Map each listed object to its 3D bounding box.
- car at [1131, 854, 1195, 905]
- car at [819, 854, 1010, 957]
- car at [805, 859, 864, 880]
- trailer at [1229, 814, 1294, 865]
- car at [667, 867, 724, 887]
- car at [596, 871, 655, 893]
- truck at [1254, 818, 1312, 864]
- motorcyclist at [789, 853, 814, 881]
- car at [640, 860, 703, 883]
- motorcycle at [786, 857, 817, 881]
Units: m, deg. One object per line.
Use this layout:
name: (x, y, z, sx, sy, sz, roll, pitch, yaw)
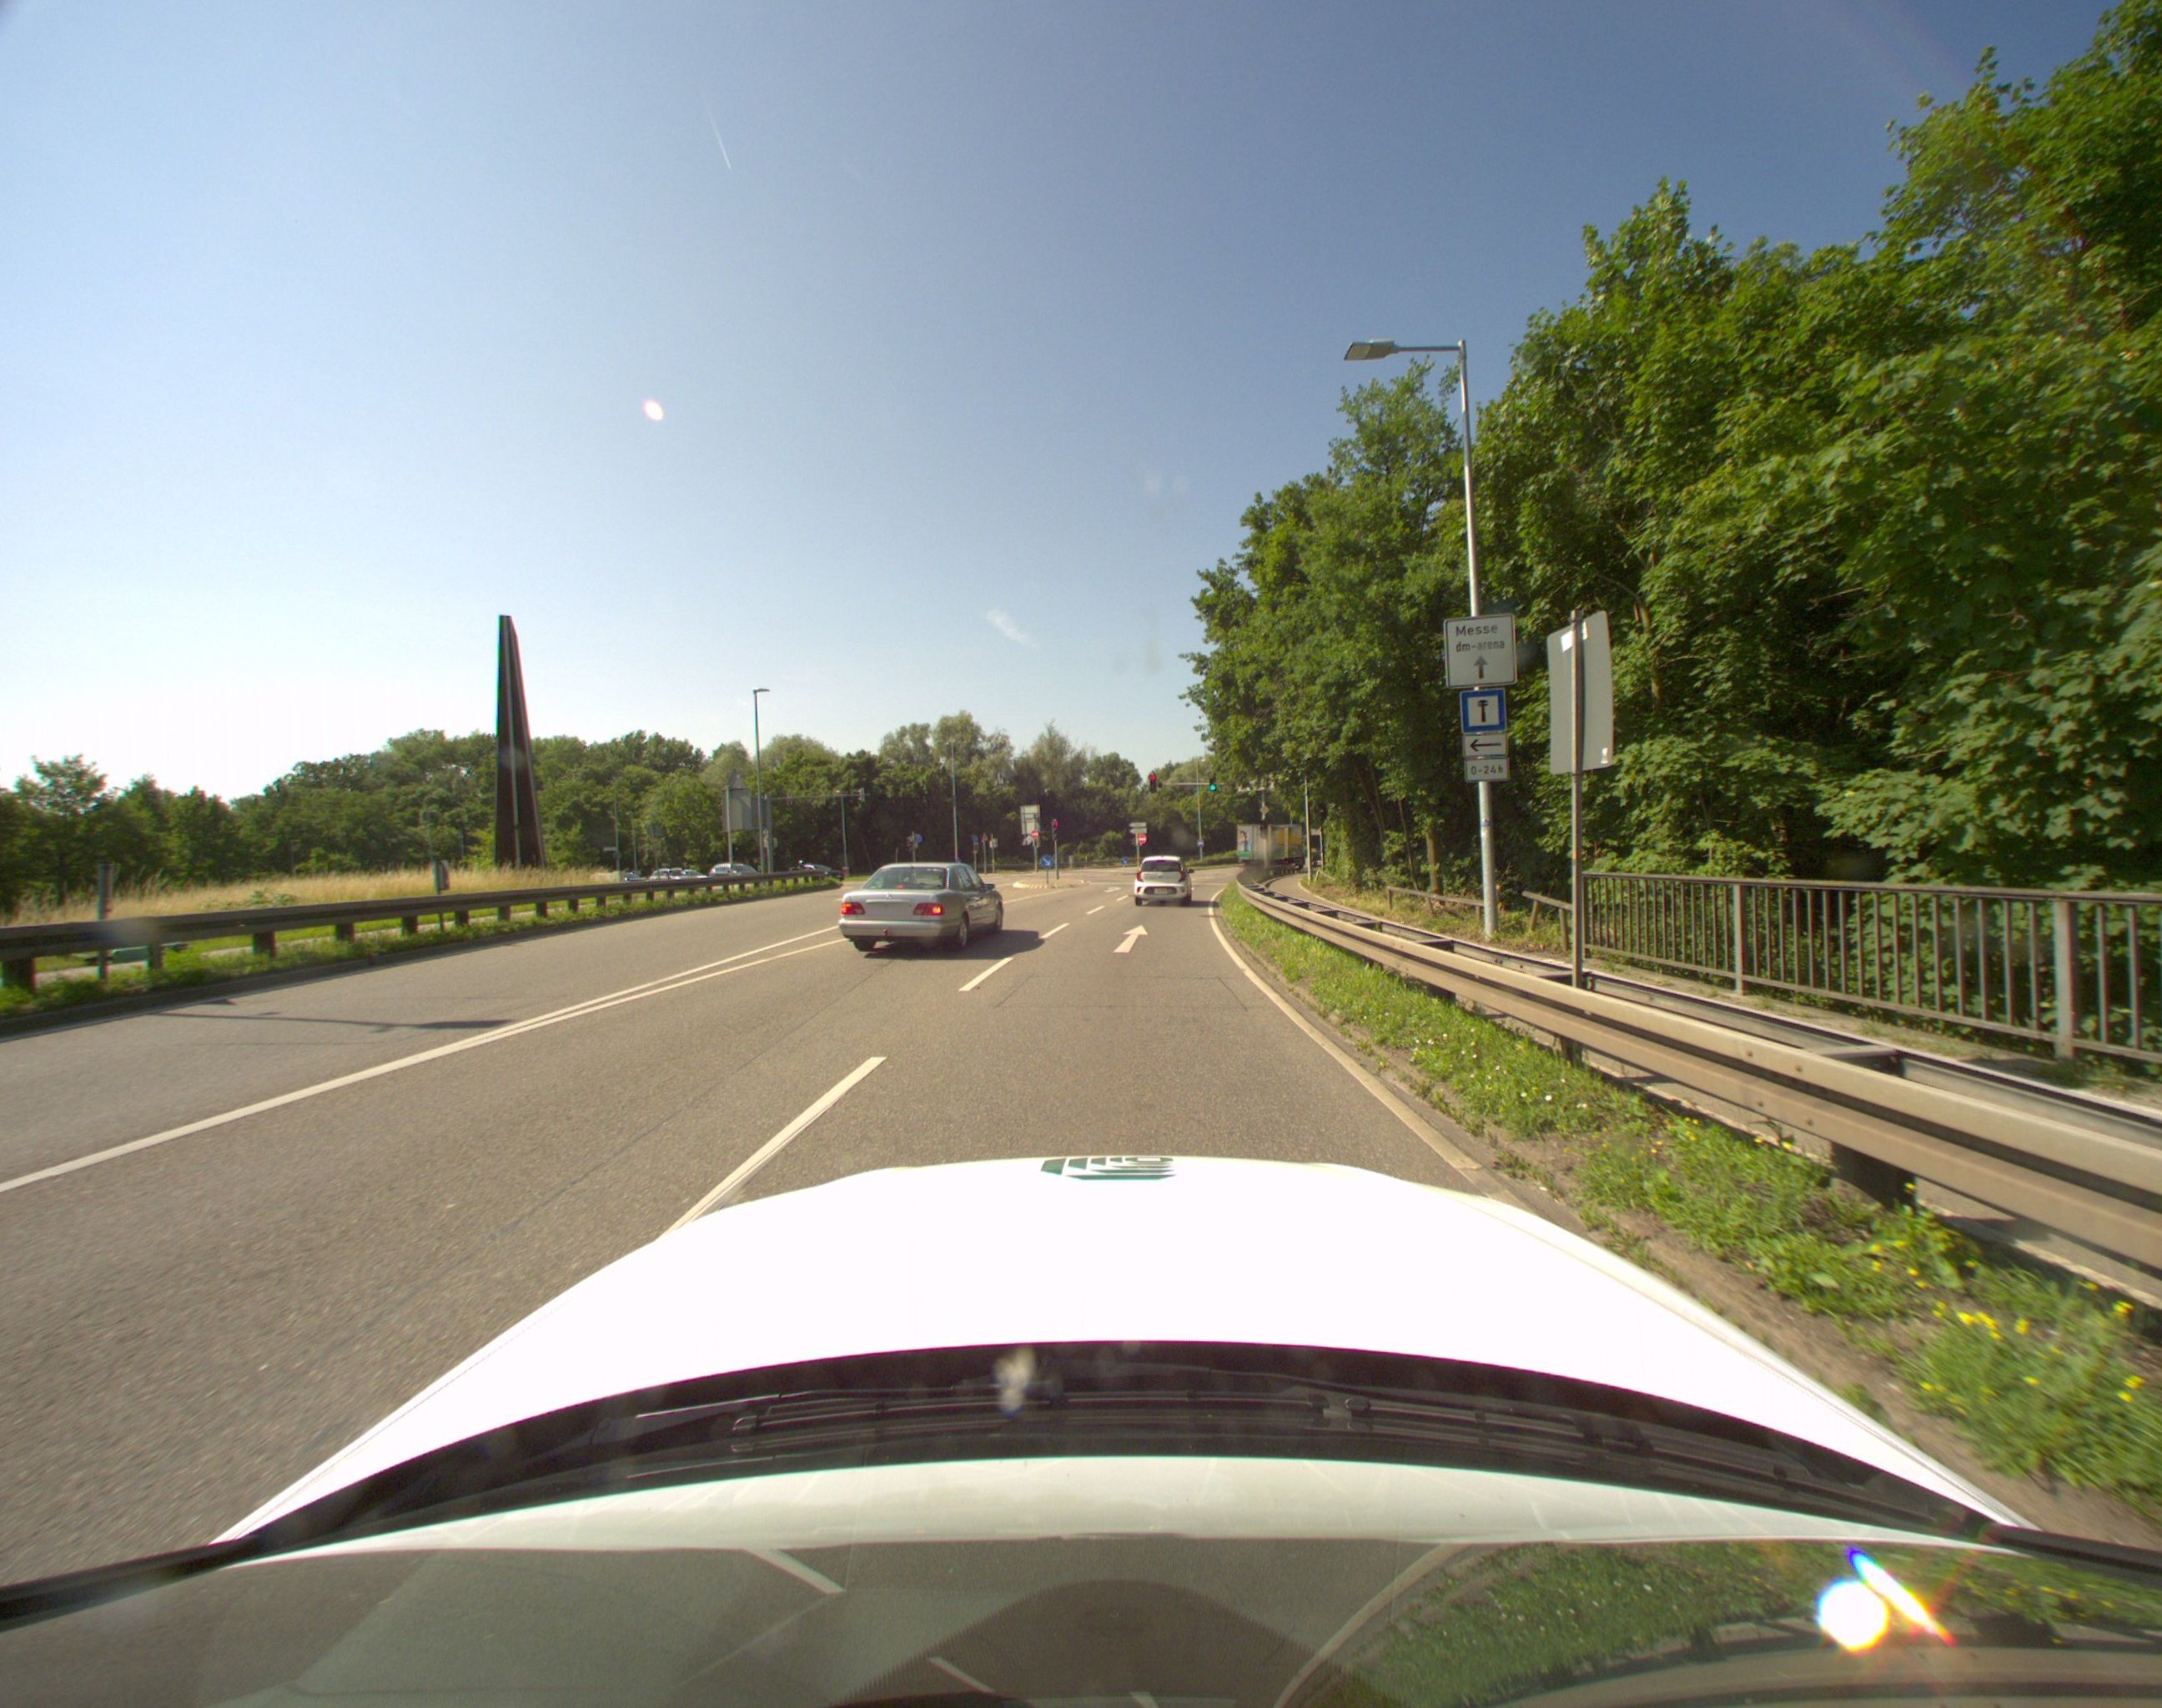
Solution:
car: (2.658, 0.755, 25.712, 1.691, 1.494, 4.011, 0, 0, 10)
car: (-2.632, 0.752, 14.249, 1.930, 1.486, 4.907, 0, 0, 5)
car: (-18.432, 1.155, 60.937, 3.949, 1.222, 1.965, -6, -4, 28)
trailer: (14.268, -1.097, 63.979, 3.195, 3.758, 7.870, 1, 0, 26)
car: (-30.500, 1.826, 64.387, 3.948, 1.389, 2.136, -5, -4, 30)
car: (-34.614, 2.110, 61.864, 4.341, 1.389, 1.932, -5, -4, 30)
truck: (17.793, -1.044, 71.301, 3.230, 3.758, 8.419, 1, 0, 26)
motorcyclist: (-20.250, 0.947, 58.958, 1.445, 1.870, 0.898, -6, -3, 27)
car: (-29.584, 1.286, 58.801, 4.341, 1.389, 1.932, -5, -4, 30)
motorcycle: (-20.218, 1.097, 58.932, 1.958, 1.529, 0.904, -6, -3, 27)
